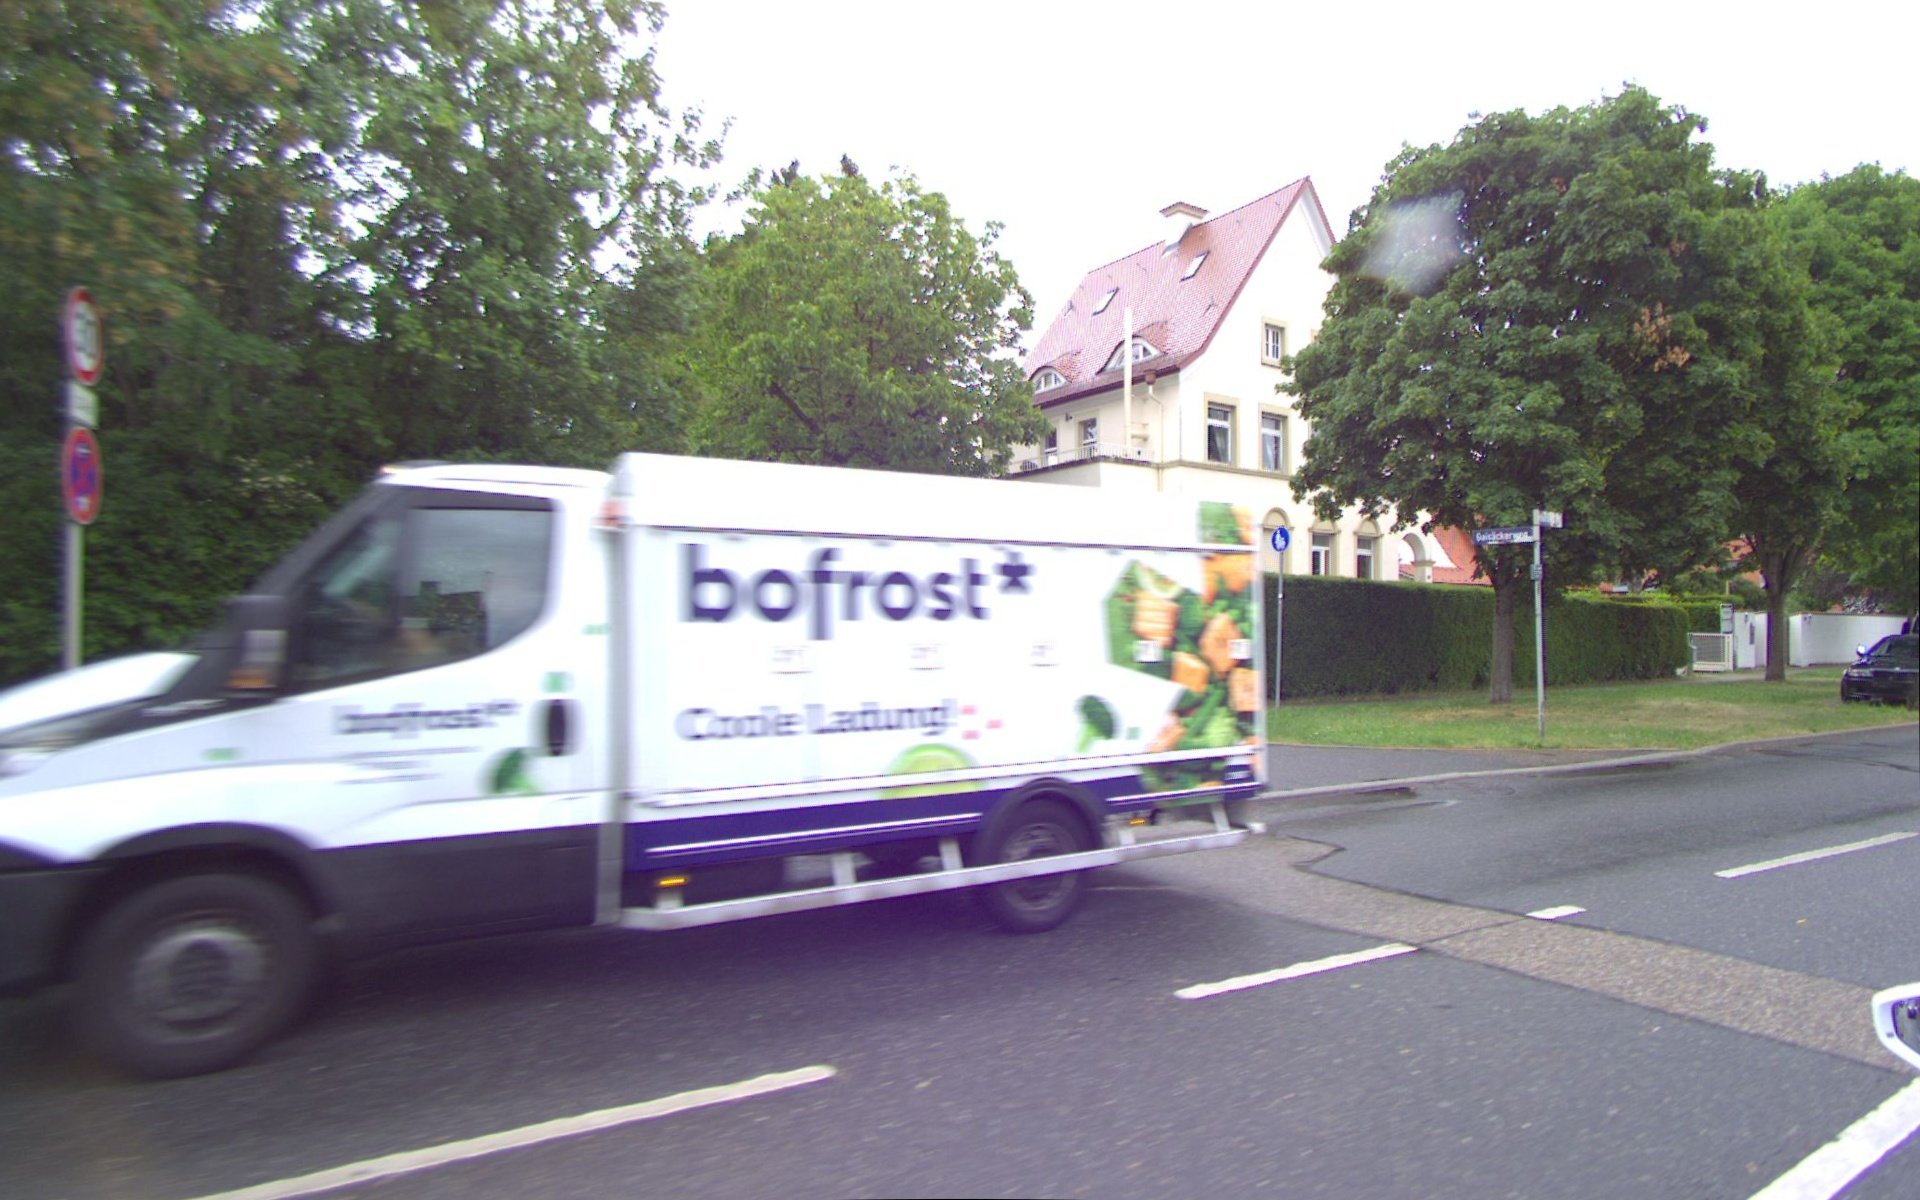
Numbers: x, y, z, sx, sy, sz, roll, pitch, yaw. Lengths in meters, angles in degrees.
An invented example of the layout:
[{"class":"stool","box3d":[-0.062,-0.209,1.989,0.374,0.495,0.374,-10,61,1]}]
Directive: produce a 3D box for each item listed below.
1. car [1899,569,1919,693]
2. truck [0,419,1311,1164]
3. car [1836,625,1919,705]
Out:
[{"class":"car","box3d":[24.242,0.721,23.660,5.879,2.765,1.980,0,0,-35]},{"class":"truck","box3d":[-1.327,0.624,5.127,6.384,2.233,2.208,1,-1,-29]},{"class":"car","box3d":[18.694,1.214,19.542,3.789,1.427,1.711,1,-2,-36]}]
